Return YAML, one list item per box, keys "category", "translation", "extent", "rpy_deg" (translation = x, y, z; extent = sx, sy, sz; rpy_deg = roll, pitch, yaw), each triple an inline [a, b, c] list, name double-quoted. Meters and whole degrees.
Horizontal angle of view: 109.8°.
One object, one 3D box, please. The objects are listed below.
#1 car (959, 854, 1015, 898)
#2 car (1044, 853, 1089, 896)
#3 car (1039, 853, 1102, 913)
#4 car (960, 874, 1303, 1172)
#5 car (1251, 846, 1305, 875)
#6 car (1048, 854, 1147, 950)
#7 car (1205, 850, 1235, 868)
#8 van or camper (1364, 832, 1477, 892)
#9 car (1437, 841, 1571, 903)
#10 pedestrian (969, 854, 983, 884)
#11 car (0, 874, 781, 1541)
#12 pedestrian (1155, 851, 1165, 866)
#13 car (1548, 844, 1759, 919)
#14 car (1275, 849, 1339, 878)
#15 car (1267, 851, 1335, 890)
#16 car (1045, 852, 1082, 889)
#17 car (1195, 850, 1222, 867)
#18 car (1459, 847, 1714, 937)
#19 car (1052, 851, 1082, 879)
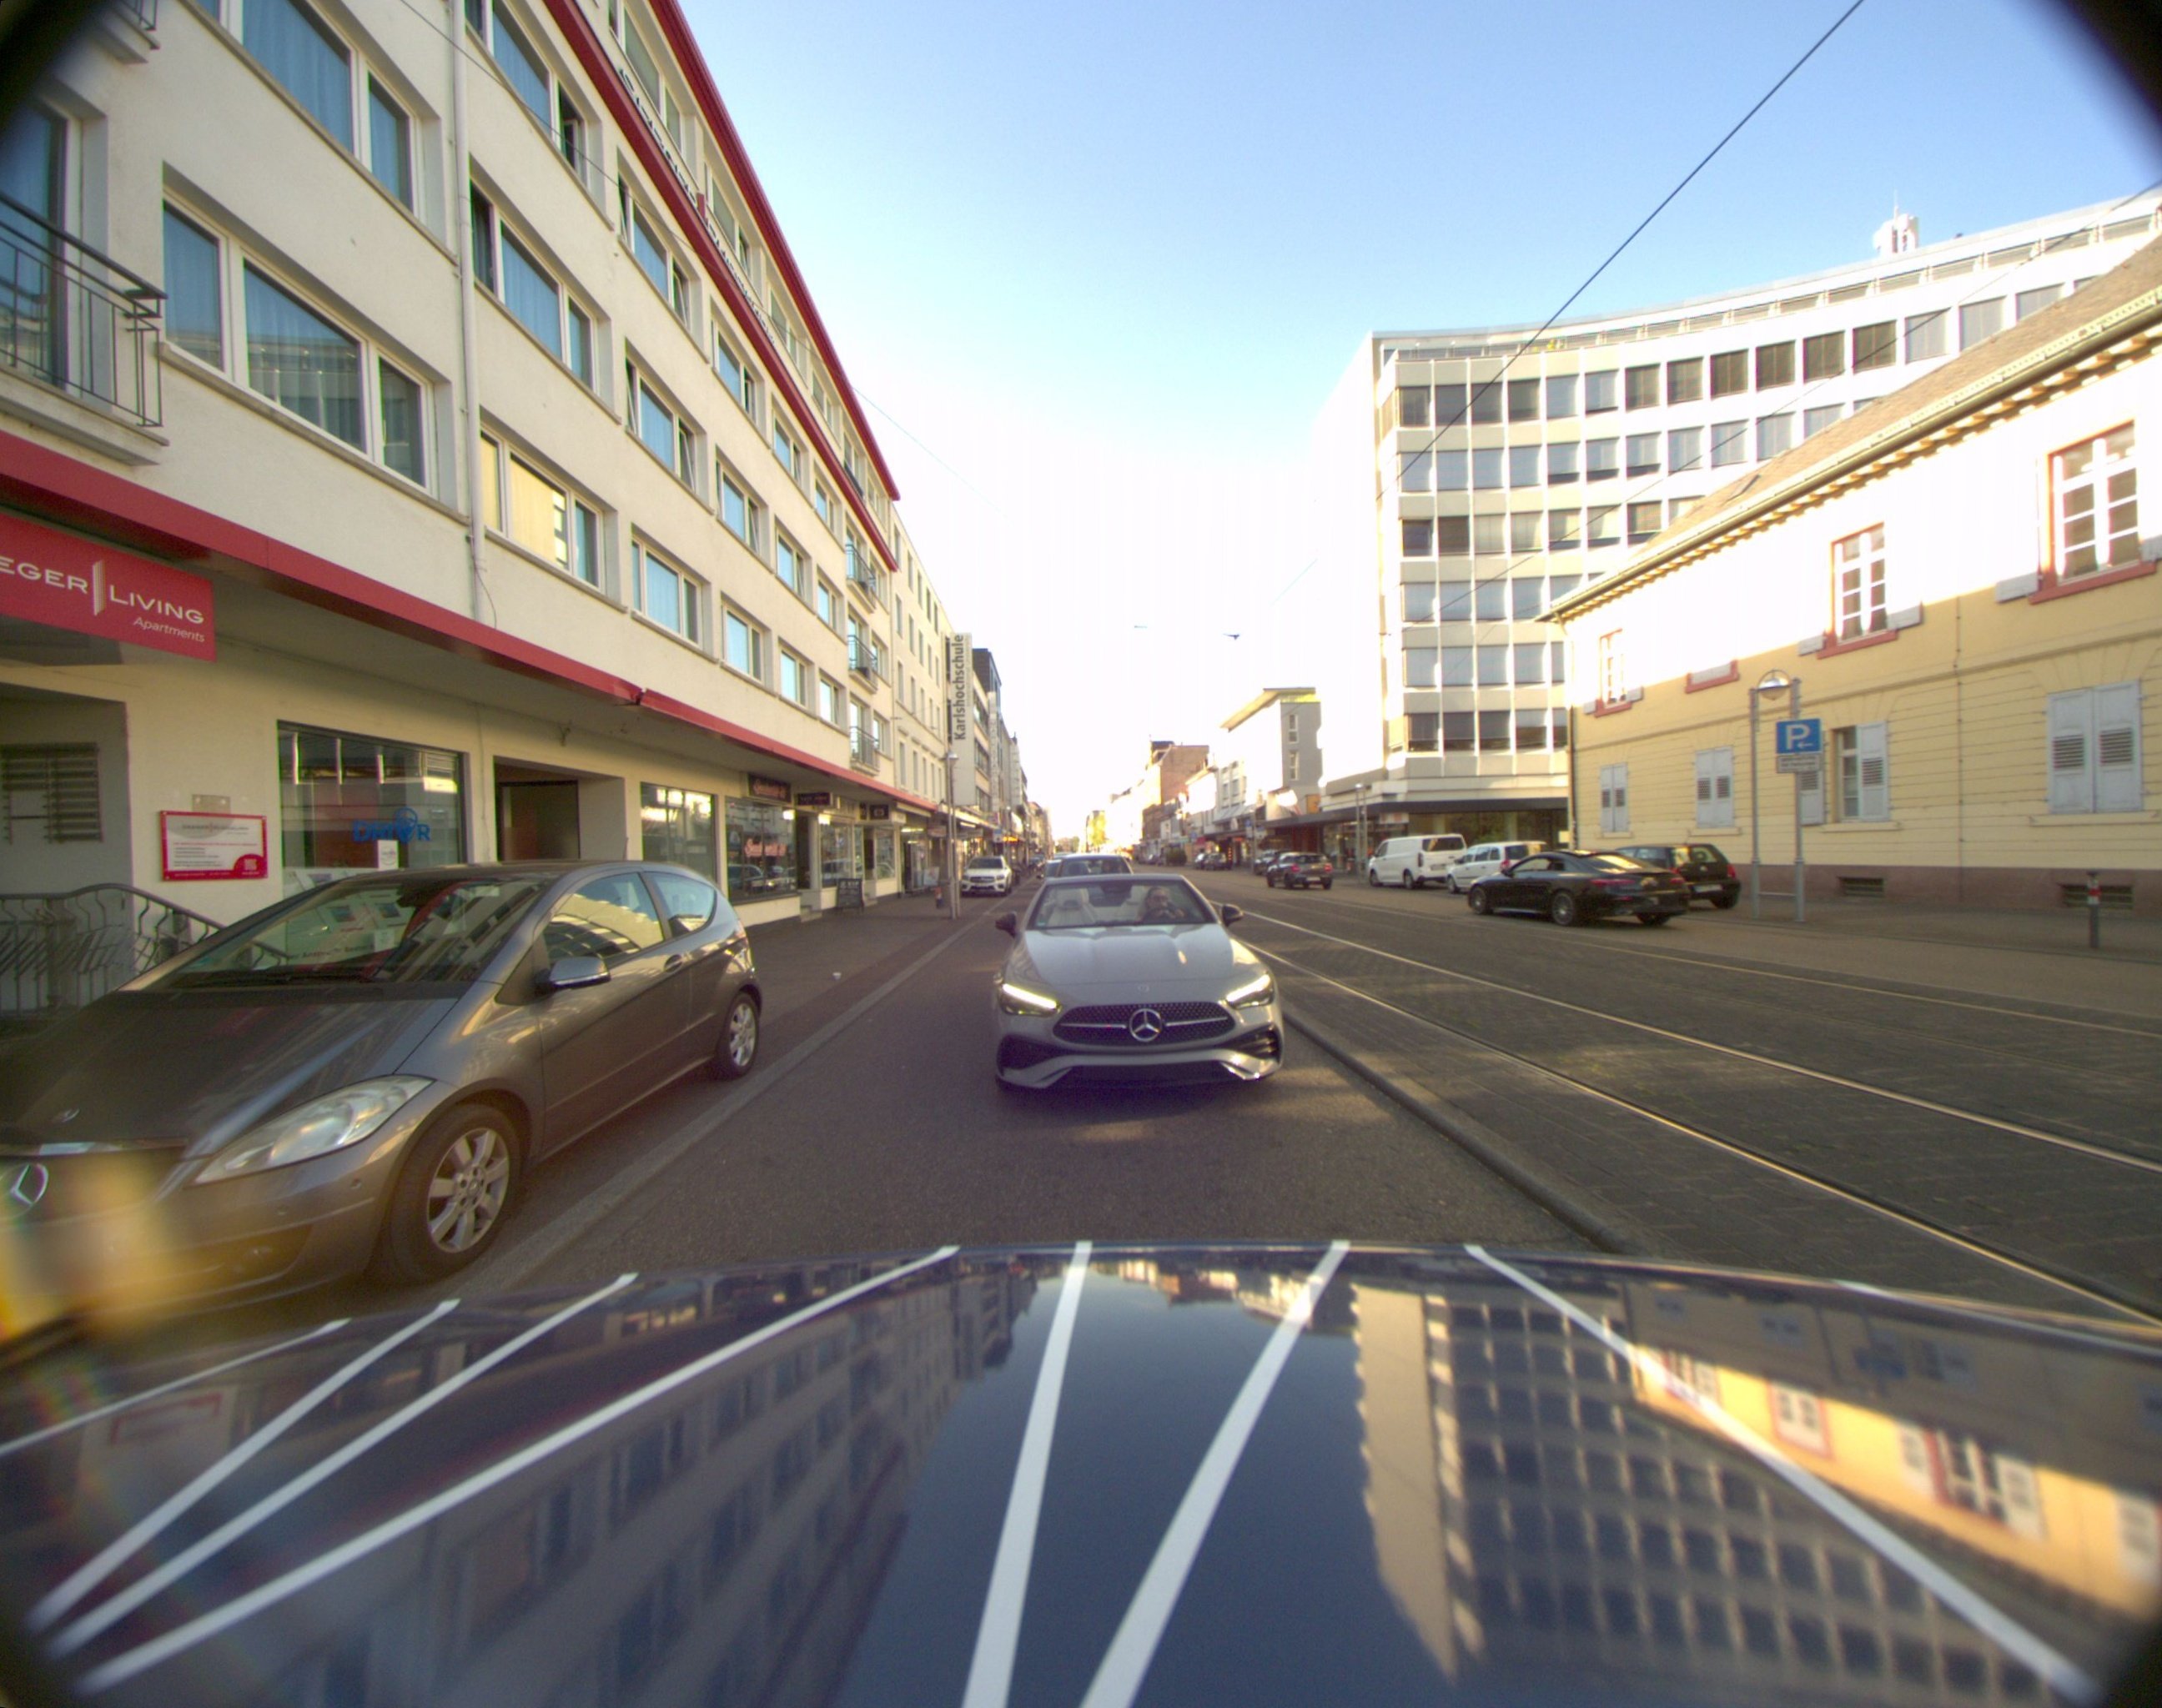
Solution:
- category: "car"
  translation: [-3.802, 0.839, 31.395]
  extent: [1.783, 1.654, 4.162]
  rpy_deg: [0, 1, 0]
- category: "car"
  translation: [-0.575, 0.809, 31.971]
  extent: [1.737, 1.654, 3.960]
  rpy_deg: [0, 1, 0]
- category: "car"
  translation: [-0.318, 0.828, 23.707]
  extent: [1.783, 1.654, 3.960]
  rpy_deg: [0, 1, 0]
- category: "car"
  translation: [0.268, 0.990, 6.533]
  extent: [1.869, 1.431, 4.773]
  rpy_deg: [0, 1, 0]
- category: "car"
  translation: [12.285, 0.385, 47.658]
  extent: [1.931, 1.632, 4.280]
  rpy_deg: [-4, 1, -3]
- category: "car"
  translation: [0.285, 0.848, 15.449]
  extent: [1.737, 1.654, 3.960]
  rpy_deg: [0, 1, 0]
- category: "car"
  translation: [11.956, 0.382, 65.483]
  extent: [1.786, 1.408, 3.596]
  rpy_deg: [-2, 1, -2]
- category: "van or camper"
  translation: [12.729, 0.262, 28.870]
  extent: [1.960, 1.962, 4.796]
  rpy_deg: [-3, 1, -2]
- category: "car"
  translation: [12.749, 0.480, 23.232]
  extent: [1.781, 1.611, 4.175]
  rpy_deg: [-3, 1, 2]
- category: "pedestrian"
  translation: [-6.542, 0.946, 47.261]
  extent: [0.706, 1.807, 0.807]
  rpy_deg: [-2, 1, -3]
- category: "car"
  translation: [-3.222, 0.961, 3.903]
  extent: [1.781, 1.560, 3.960]
  rpy_deg: [0, 1, 0]
- category: "pedestrian"
  translation: [10.088, 0.548, 96.726]
  extent: [1.010, 1.811, 1.032]
  rpy_deg: [-2, 1, -2]
- category: "car"
  translation: [12.852, 0.534, 17.419]
  extent: [1.781, 1.431, 3.960]
  rpy_deg: [-3, 1, 0]
- category: "car"
  translation: [12.490, 0.497, 42.269]
  extent: [1.931, 1.444, 4.291]
  rpy_deg: [-4, 1, -5]
- category: "car"
  translation: [8.988, 0.652, 31.377]
  extent: [1.781, 1.500, 3.860]
  rpy_deg: [-1, 0, 2]
- category: "car"
  translation: [-0.826, 0.765, 37.416]
  extent: [1.737, 1.654, 3.781]
  rpy_deg: [0, 1, 0]
- category: "car"
  translation: [11.875, 0.389, 71.080]
  extent: [1.786, 1.511, 3.832]
  rpy_deg: [-2, 1, -1]
- category: "car"
  translation: [9.698, 0.641, 15.147]
  extent: [1.782, 1.500, 4.668]
  rpy_deg: [-1, 0, -3]
- category: "car"
  translation: [-0.854, 0.635, 46.536]
  extent: [1.737, 1.654, 3.960]
  rpy_deg: [0, 1, 0]
